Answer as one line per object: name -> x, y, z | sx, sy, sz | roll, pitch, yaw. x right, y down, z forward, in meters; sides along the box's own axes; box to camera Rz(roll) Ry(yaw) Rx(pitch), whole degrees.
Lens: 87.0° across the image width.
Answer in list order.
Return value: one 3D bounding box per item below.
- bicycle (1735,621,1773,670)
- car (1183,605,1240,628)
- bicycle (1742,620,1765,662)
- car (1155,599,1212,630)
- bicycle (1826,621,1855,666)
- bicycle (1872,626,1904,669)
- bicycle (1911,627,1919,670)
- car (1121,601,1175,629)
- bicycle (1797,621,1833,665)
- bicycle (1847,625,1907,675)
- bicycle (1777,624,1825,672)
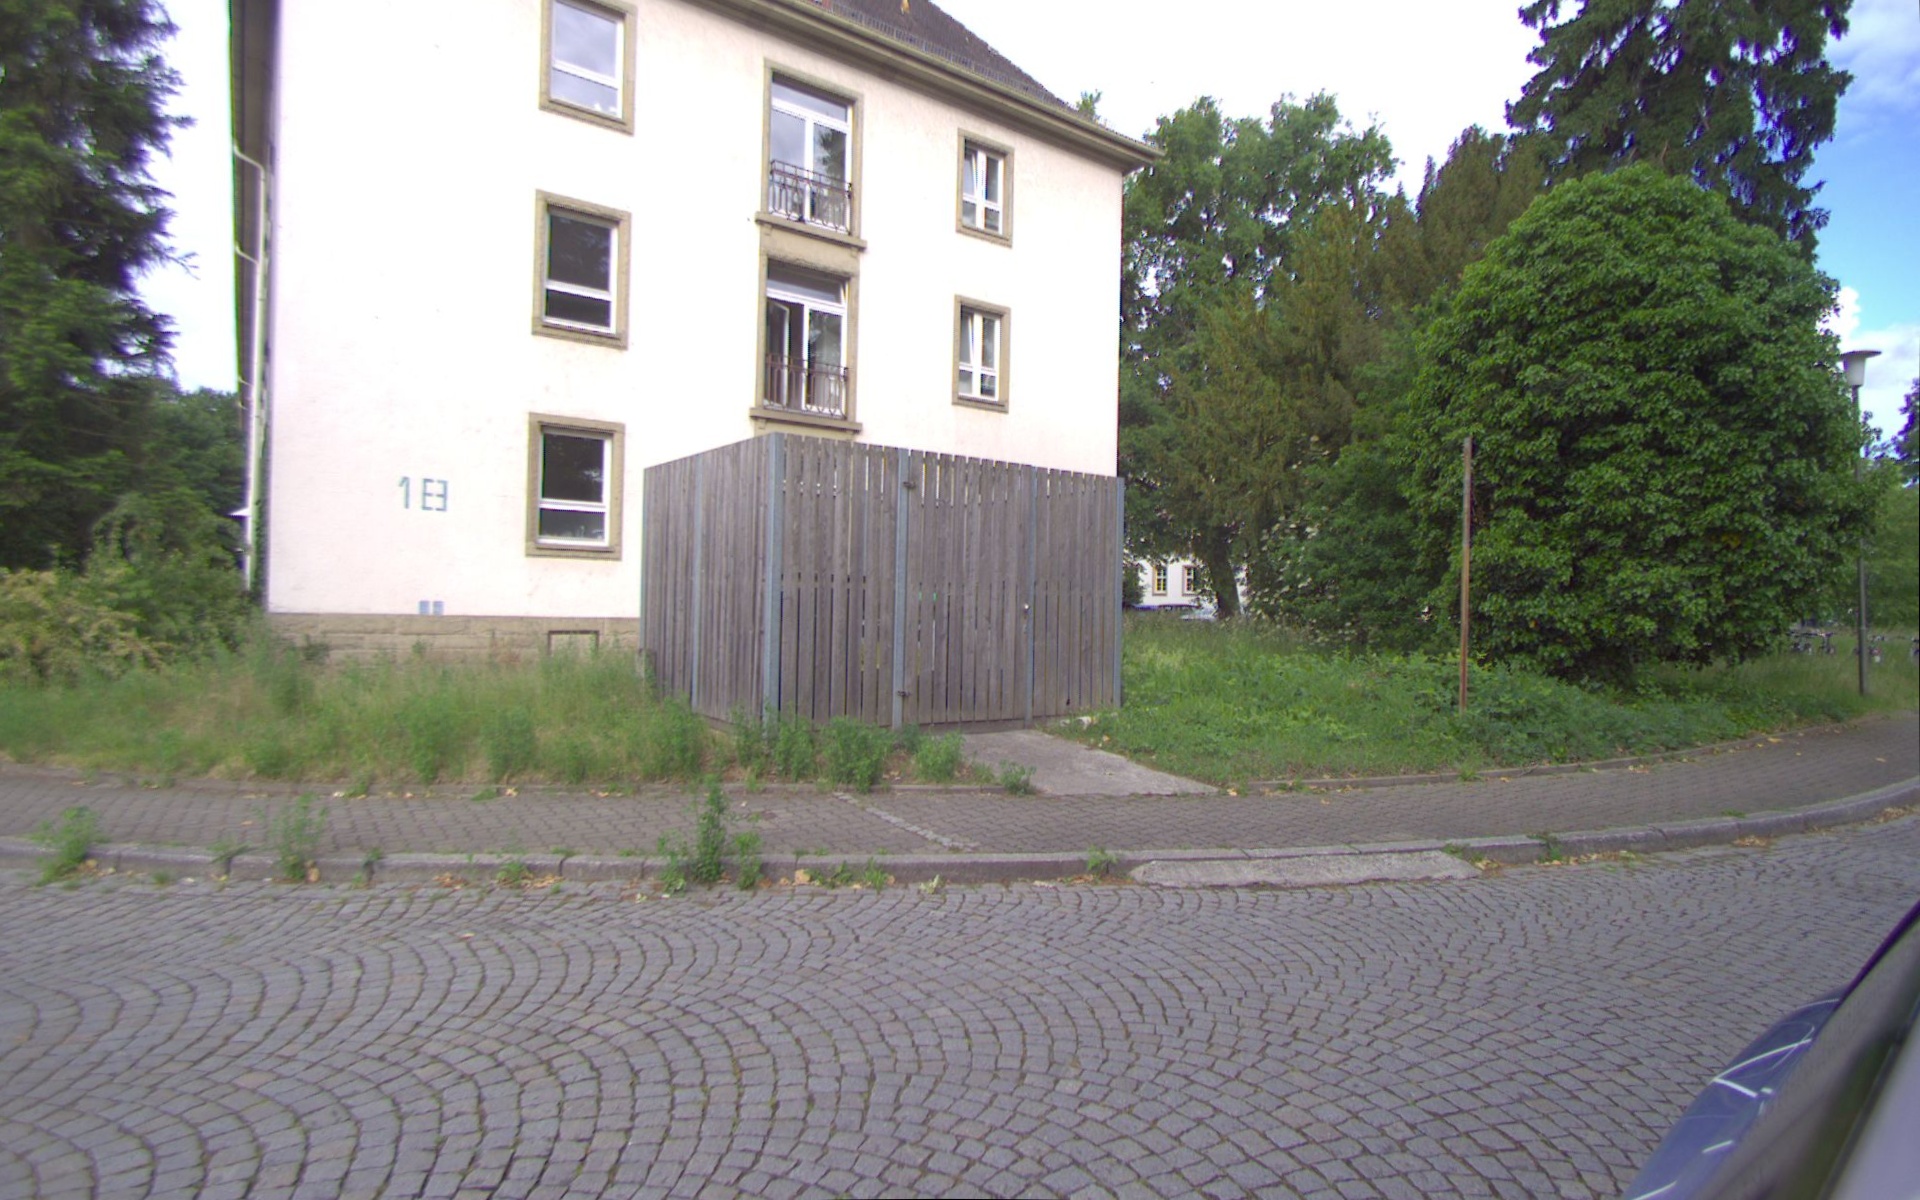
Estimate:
bicycle -> 20.208, 1.139, 25.756 | 1.725, 1.186, 0.550 | 1, -1, -45
car -> 13.789, 0.905, 55.529 | 3.188, 1.233, 1.297 | 1, 0, -37
bicycle -> 21.929, 1.114, 27.977 | 0.475, 1.126, 1.741 | 0, -1, 37
car -> 12.738, 0.838, 57.575 | 3.188, 1.682, 1.439 | 1, 0, -37
bicycle -> 23.265, 1.129, 26.755 | 0.475, 1.126, 1.741 | 0, -1, 37
bicycle -> 24.135, 1.229, 26.332 | 0.475, 1.020, 1.645 | 0, 1, 37
bicycle -> 24.651, 1.233, 25.752 | 0.475, 1.020, 1.645 | 0, 1, 37
car -> 11.263, 0.884, 60.522 | 3.188, 1.585, 1.384 | 1, 0, -37
bicycle -> 22.988, 1.129, 27.215 | 0.474, 1.126, 1.745 | 0, -1, 32
bicycle -> 21.479, 1.155, 23.734 | 0.612, 1.078, 1.807 | 1, 0, 28
bicycle -> 20.344, 1.139, 24.506 | 0.546, 1.078, 1.737 | 1, 0, 28
